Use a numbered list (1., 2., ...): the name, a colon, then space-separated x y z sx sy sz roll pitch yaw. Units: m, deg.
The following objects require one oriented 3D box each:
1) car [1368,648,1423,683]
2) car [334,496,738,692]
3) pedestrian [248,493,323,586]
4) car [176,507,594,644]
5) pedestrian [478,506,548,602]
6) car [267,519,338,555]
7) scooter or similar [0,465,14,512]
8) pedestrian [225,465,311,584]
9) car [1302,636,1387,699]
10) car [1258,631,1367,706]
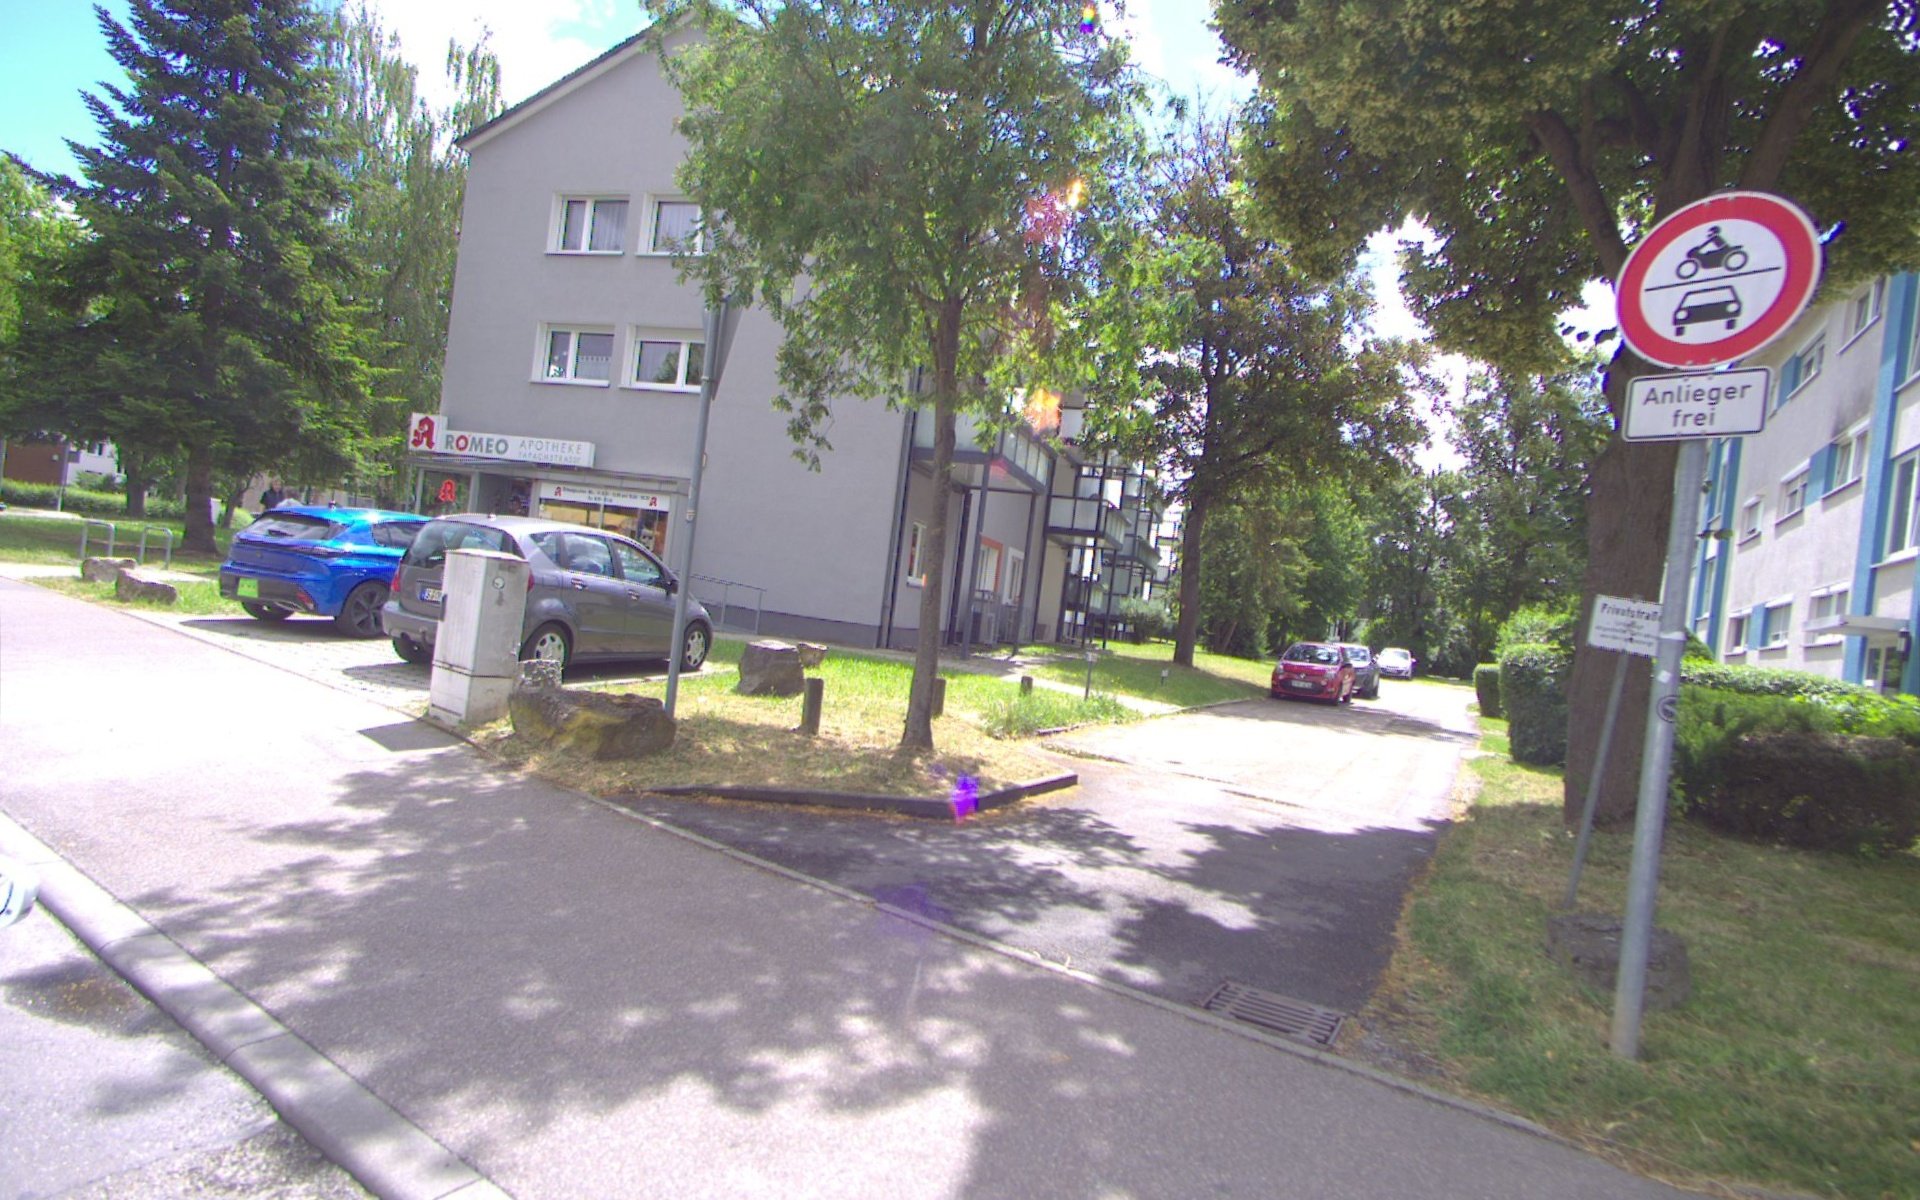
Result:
1. car: 22.224 3.359 51.227 1.967 1.328 3.995 7 -2 31
2. car: -4.397 -0.067 11.084 1.994 1.577 3.737 8 2 20
3. pedestrian: -12.144 -1.078 18.127 0.678 1.549 0.743 7 1 23
4. car: -7.082 -0.287 13.047 1.962 1.260 4.493 8 2 18
5. pedestrian: -9.984 -1.017 22.490 0.924 1.981 0.842 7 1 11
6. car: -47.912 -4.581 73.339 3.924 1.964 2.020 8 -1 15
7. scooter or similar: -28.823 -3.346 29.902 0.479 1.360 1.380 6 2 -21
8. pedestrian: -12.798 -1.380 18.609 1.027 2.039 0.655 7 1 19
9. car: 11.766 2.040 30.655 1.884 1.522 3.995 8 0 27
10. car: 9.068 1.793 25.675 1.702 1.520 3.877 7 -2 31
